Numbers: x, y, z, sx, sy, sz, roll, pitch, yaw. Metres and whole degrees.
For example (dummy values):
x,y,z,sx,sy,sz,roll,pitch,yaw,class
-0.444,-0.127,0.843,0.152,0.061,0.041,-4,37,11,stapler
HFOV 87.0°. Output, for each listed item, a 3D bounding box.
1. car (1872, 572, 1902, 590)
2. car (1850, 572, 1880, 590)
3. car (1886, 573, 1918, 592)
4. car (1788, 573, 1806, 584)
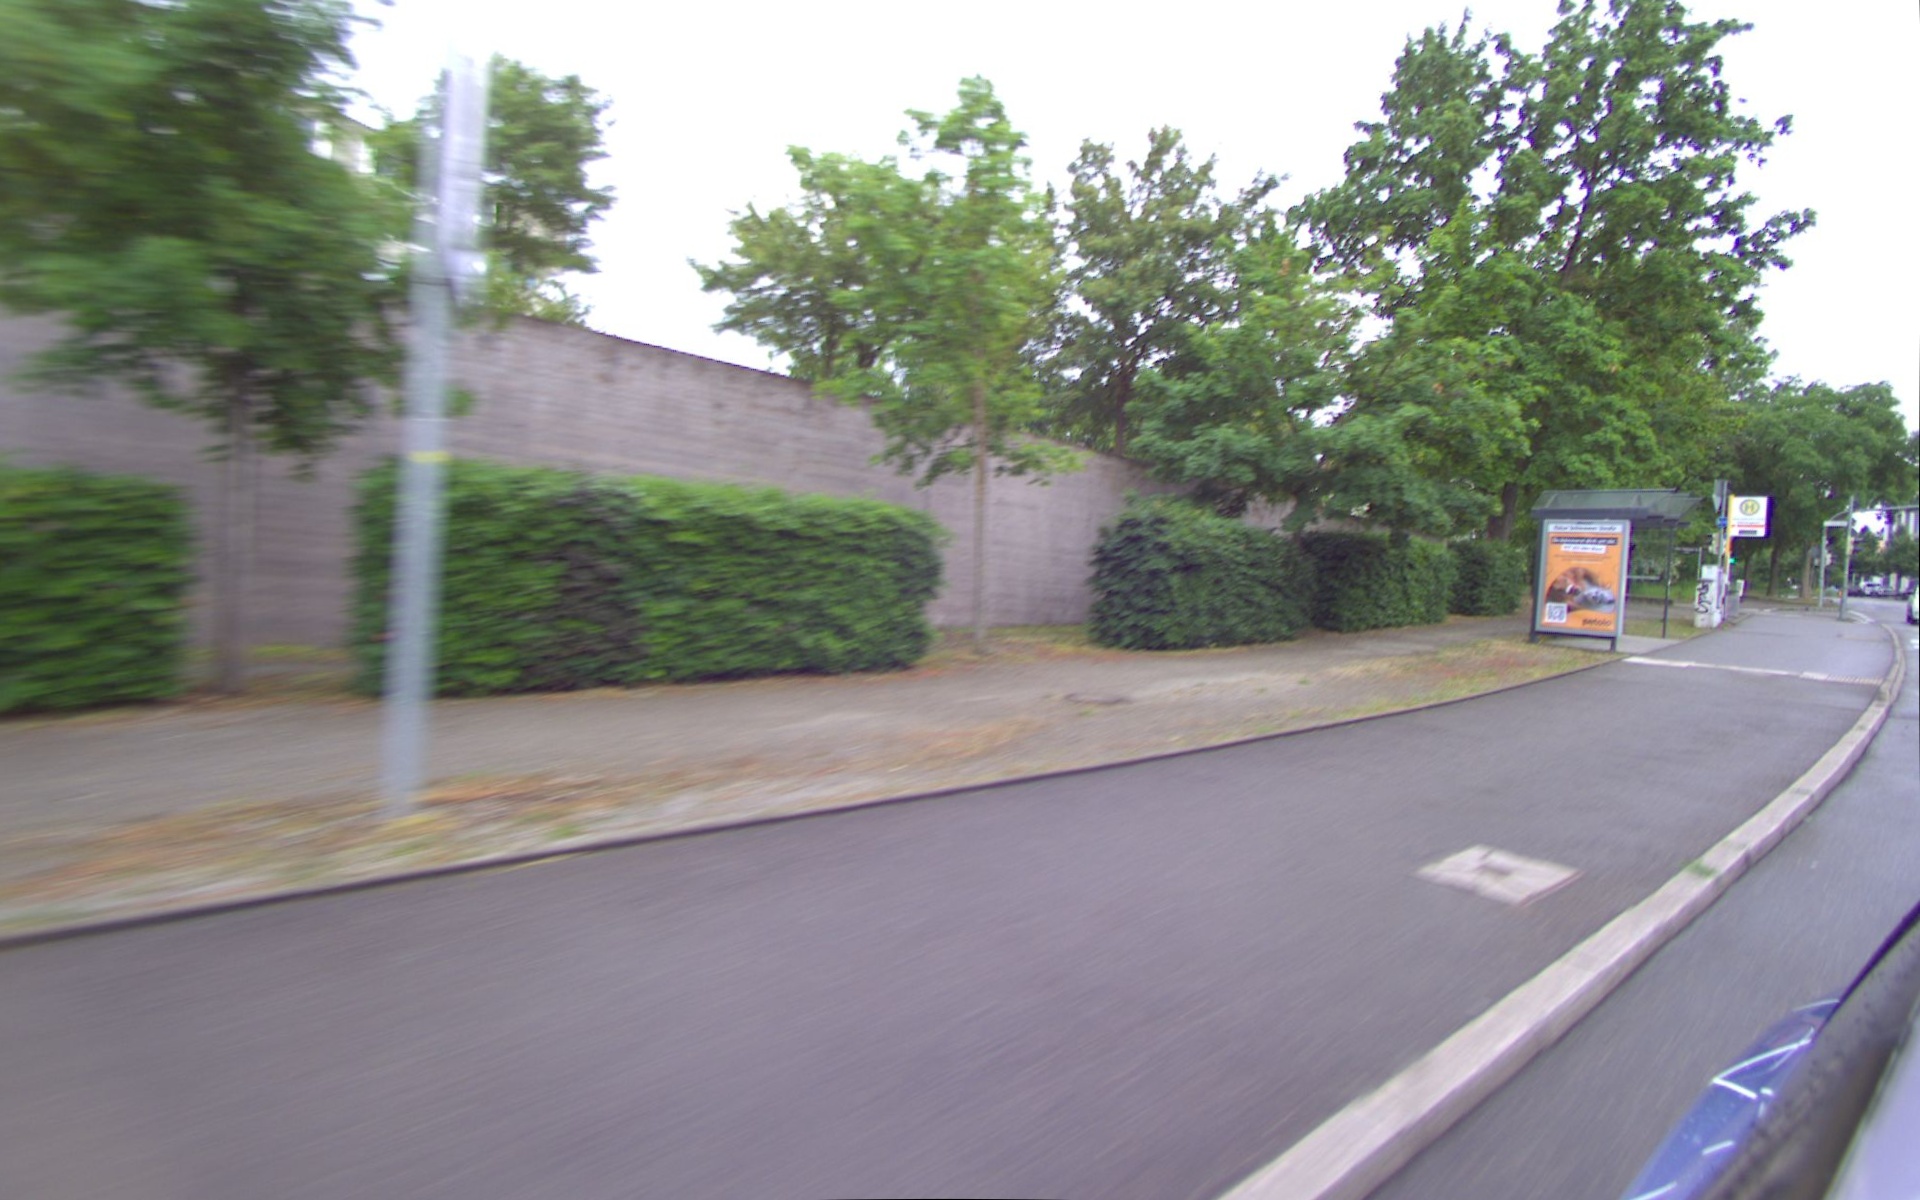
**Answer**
x,y,z,sx,sy,sz,roll,pitch,yaw,class
112.629,-2.266,123.047,1.911,2.039,4.334,2,0,33,car
106.573,-2.271,119.204,1.987,2.038,3.952,3,3,34,car
108.940,-1.981,117.125,1.911,2.039,4.334,2,0,33,car
140.978,-3.583,170.450,1.988,1.771,3.949,2,2,35,car
